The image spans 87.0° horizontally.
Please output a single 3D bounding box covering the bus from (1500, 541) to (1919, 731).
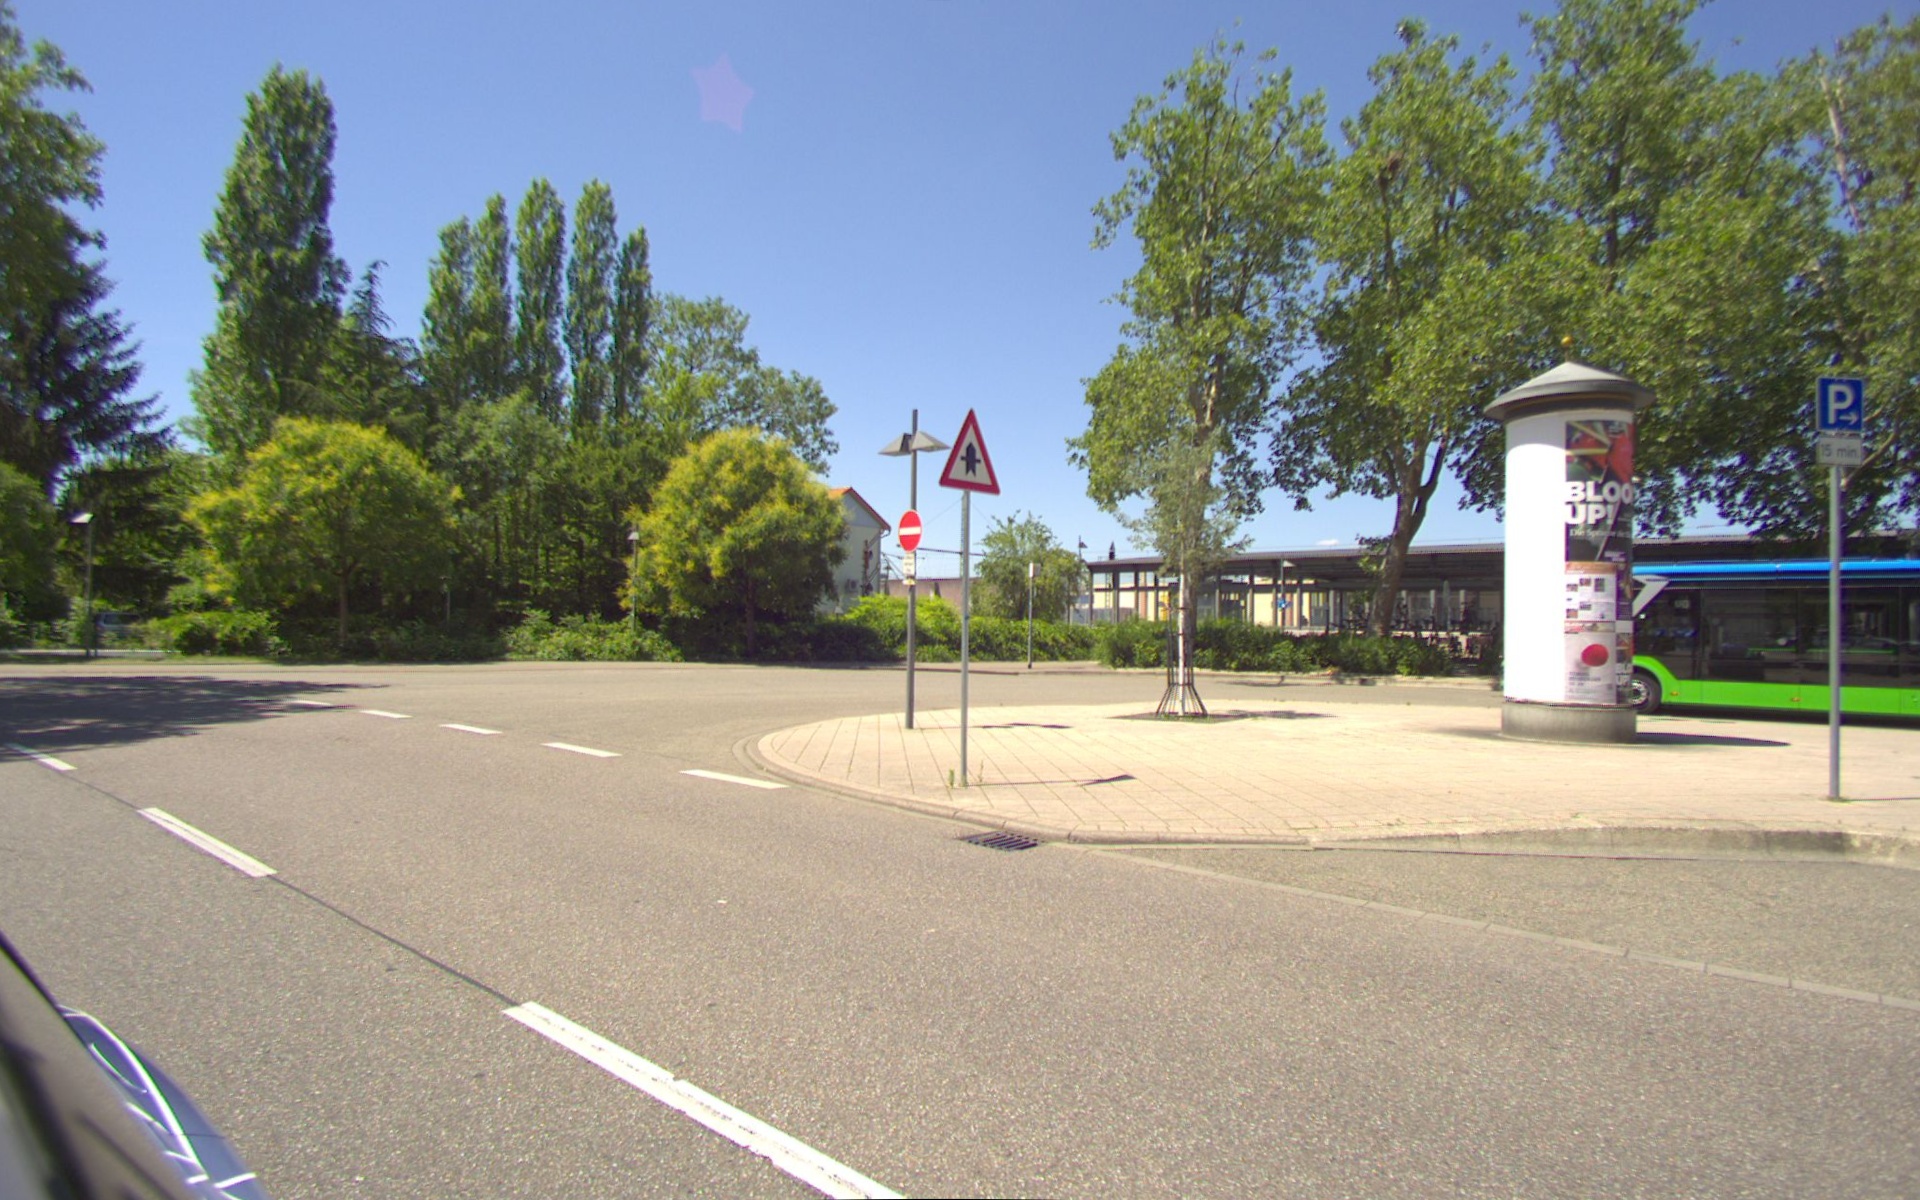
[{"bbox_3d":[17.887,0.700,20.390,12.221,3.553,2.139,-1,-2,42],"label":"bus"}]
